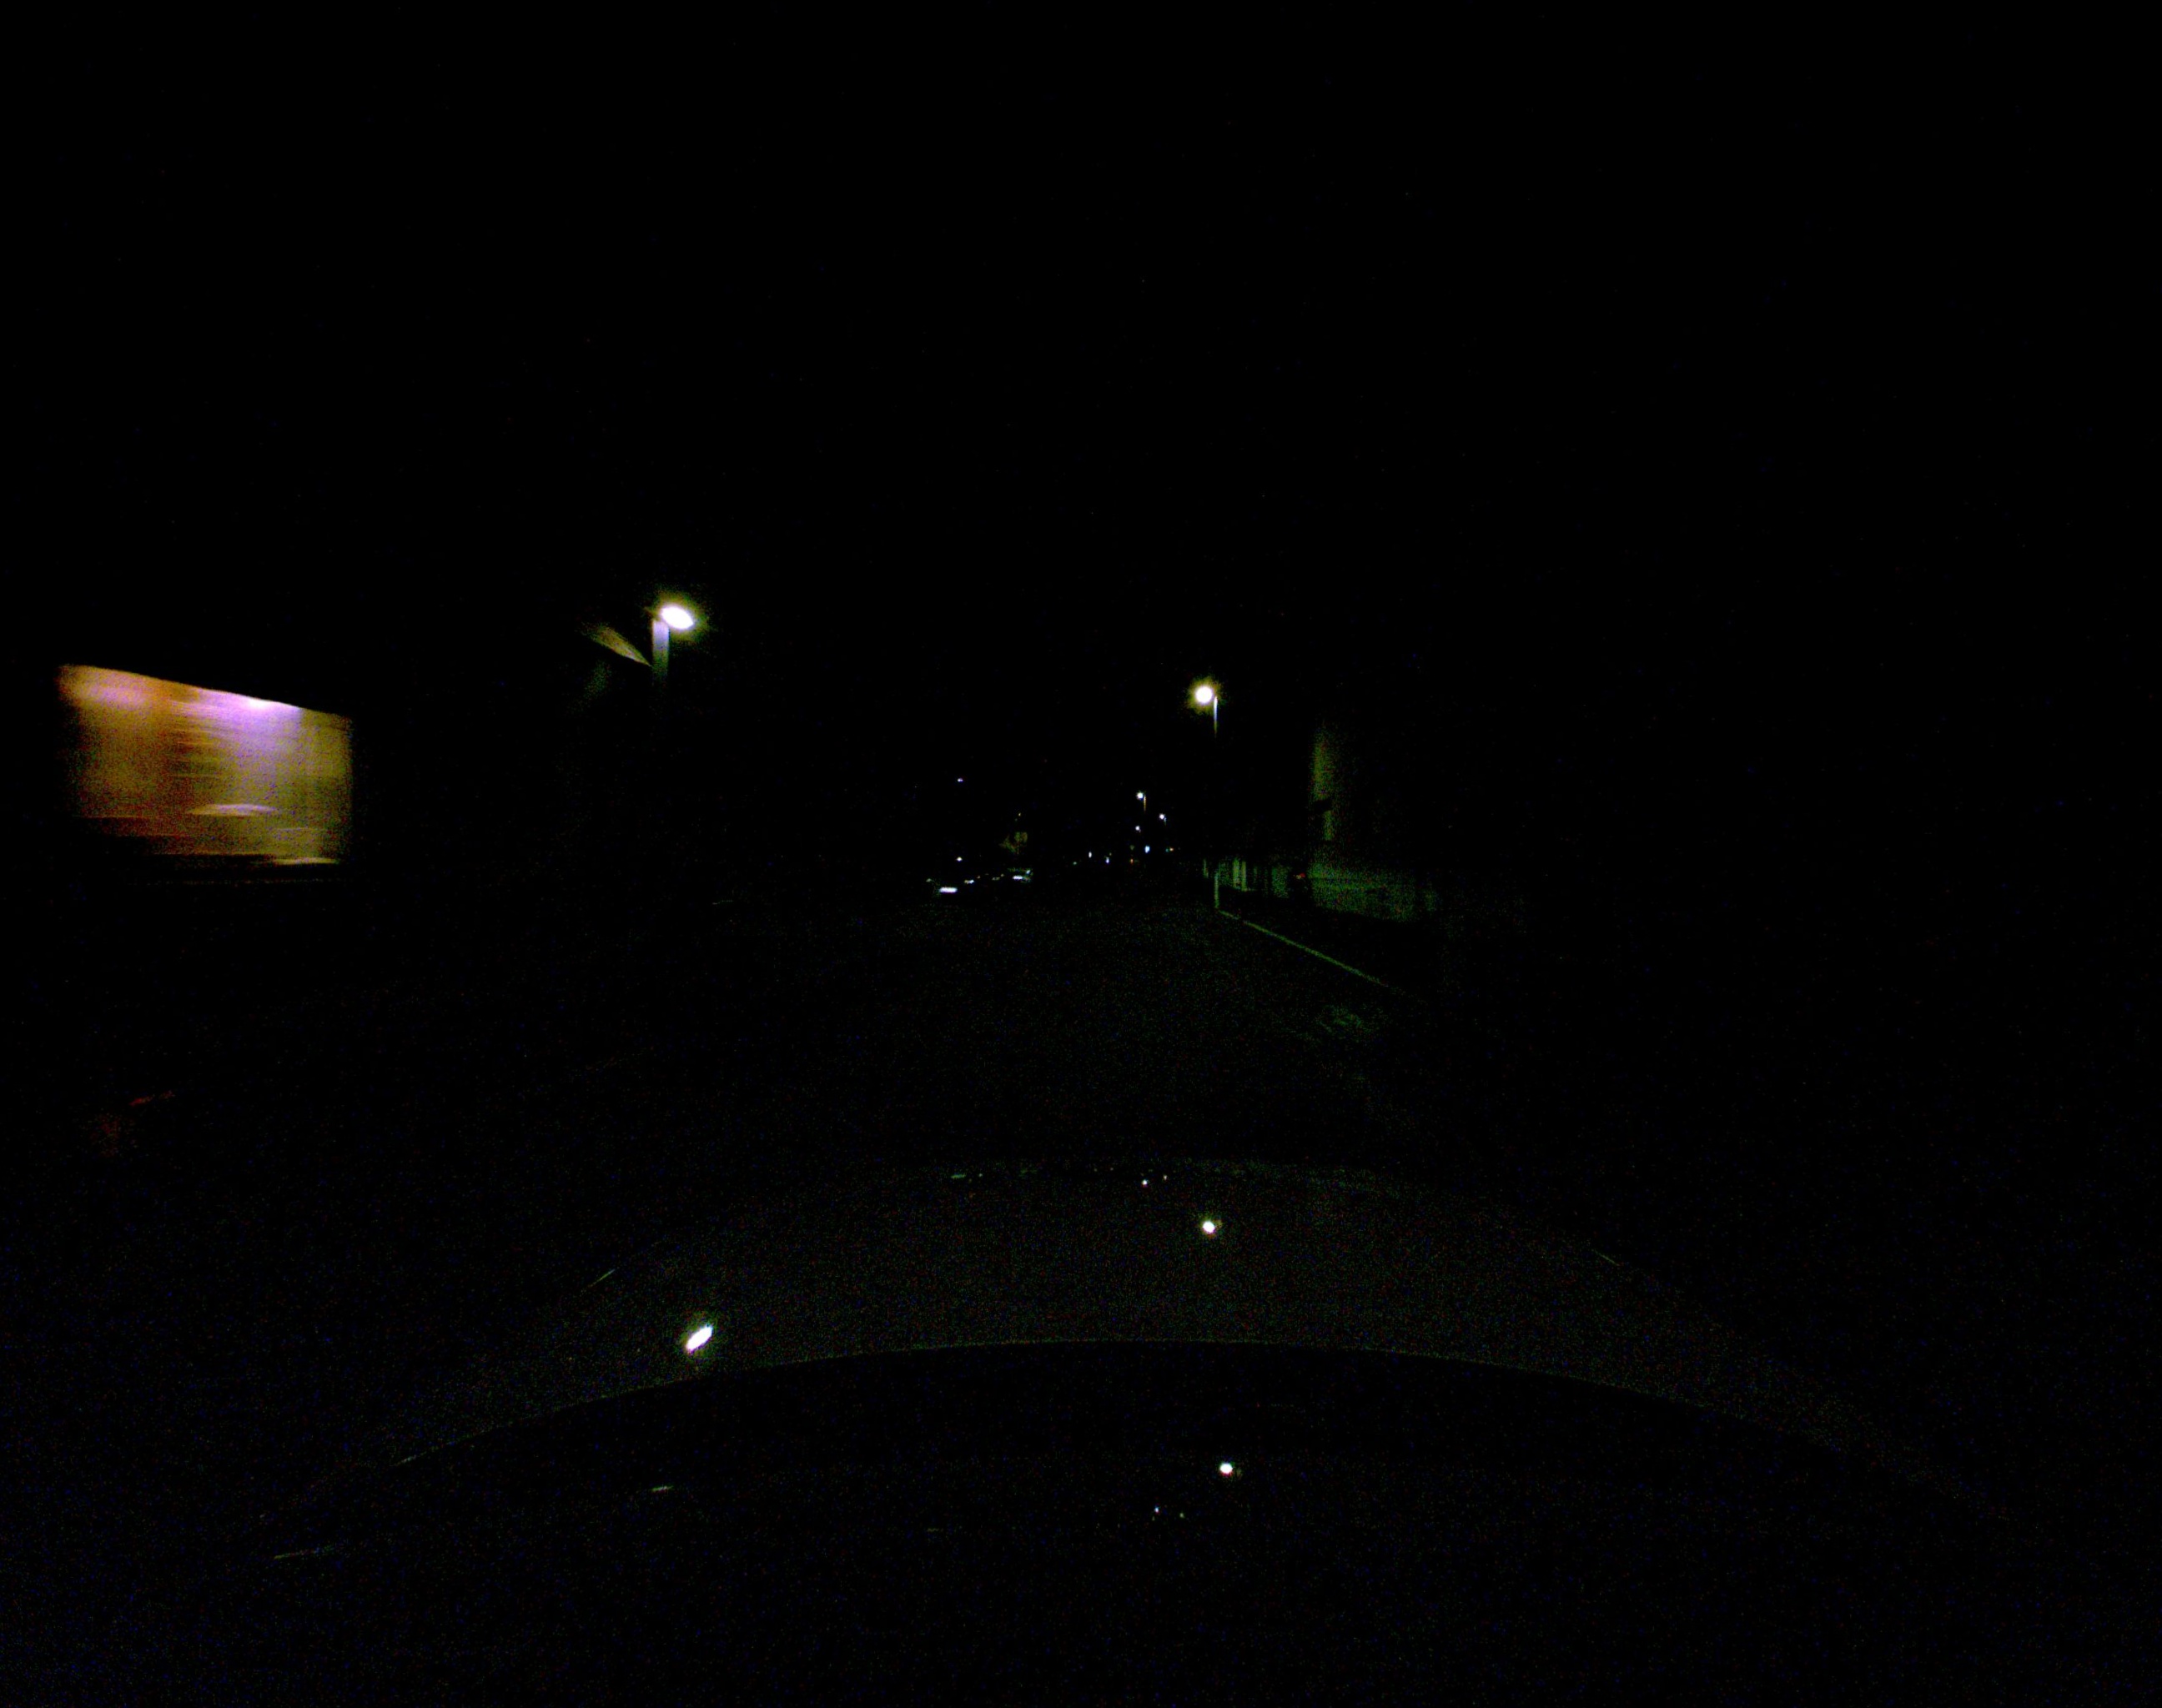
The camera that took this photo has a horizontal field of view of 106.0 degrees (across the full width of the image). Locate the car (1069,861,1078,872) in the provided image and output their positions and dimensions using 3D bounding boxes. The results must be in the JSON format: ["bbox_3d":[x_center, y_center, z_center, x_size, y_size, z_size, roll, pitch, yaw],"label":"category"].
[{"bbox_3d":[-1.434,2.401,157.580,1.819,1.987,4.464,1,-1,0],"label":"car"}]

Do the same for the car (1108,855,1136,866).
[{"bbox_3d":[7.967,1.218,158.636,5.150,1.887,2.108,-2,0,10],"label":"car"}]

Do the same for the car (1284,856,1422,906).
[{"bbox_3d":[8.218,0.807,24.839,3.695,1.473,1.732,0,-1,4],"label":"car"}]

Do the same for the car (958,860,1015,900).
[{"bbox_3d":[-3.831,1.024,33.706,1.760,1.519,4.279,1,0,1],"label":"car"}]

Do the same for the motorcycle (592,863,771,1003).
[{"bbox_3d":[-4.618,0.838,9.643,0.741,1.452,2.201,-1,-1,10],"label":"motorcycle"}]

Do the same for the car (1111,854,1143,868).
[{"bbox_3d":[7.518,1.161,133.864,5.166,2.013,2.101,-2,0,-1],"label":"car"}]

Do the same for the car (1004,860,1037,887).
[{"bbox_3d":[-3.529,1.112,47.691,1.666,1.522,2.978,2,0,0],"label":"car"}]

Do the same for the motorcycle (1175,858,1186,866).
[{"bbox_3d":[17.031,1.363,139.730,1.060,1.327,2.722,-1,0,25],"label":"motorcycle"}]

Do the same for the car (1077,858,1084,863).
[{"bbox_3d":[-0.077,1.668,206.687,1.678,1.331,3.599,-1,0,0],"label":"car"}]

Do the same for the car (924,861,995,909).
[{"bbox_3d":[-4.179,1.036,28.662,1.681,1.510,4.280,-1,0,2],"label":"car"}]

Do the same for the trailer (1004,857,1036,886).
[{"bbox_3d":[-3.798,1.088,50.897,1.442,1.688,3.429,2,0,4],"label":"trailer"}]

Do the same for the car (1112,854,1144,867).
[{"bbox_3d":[7.856,1.145,136.926,5.166,2.013,2.101,-2,0,-1],"label":"car"}]
